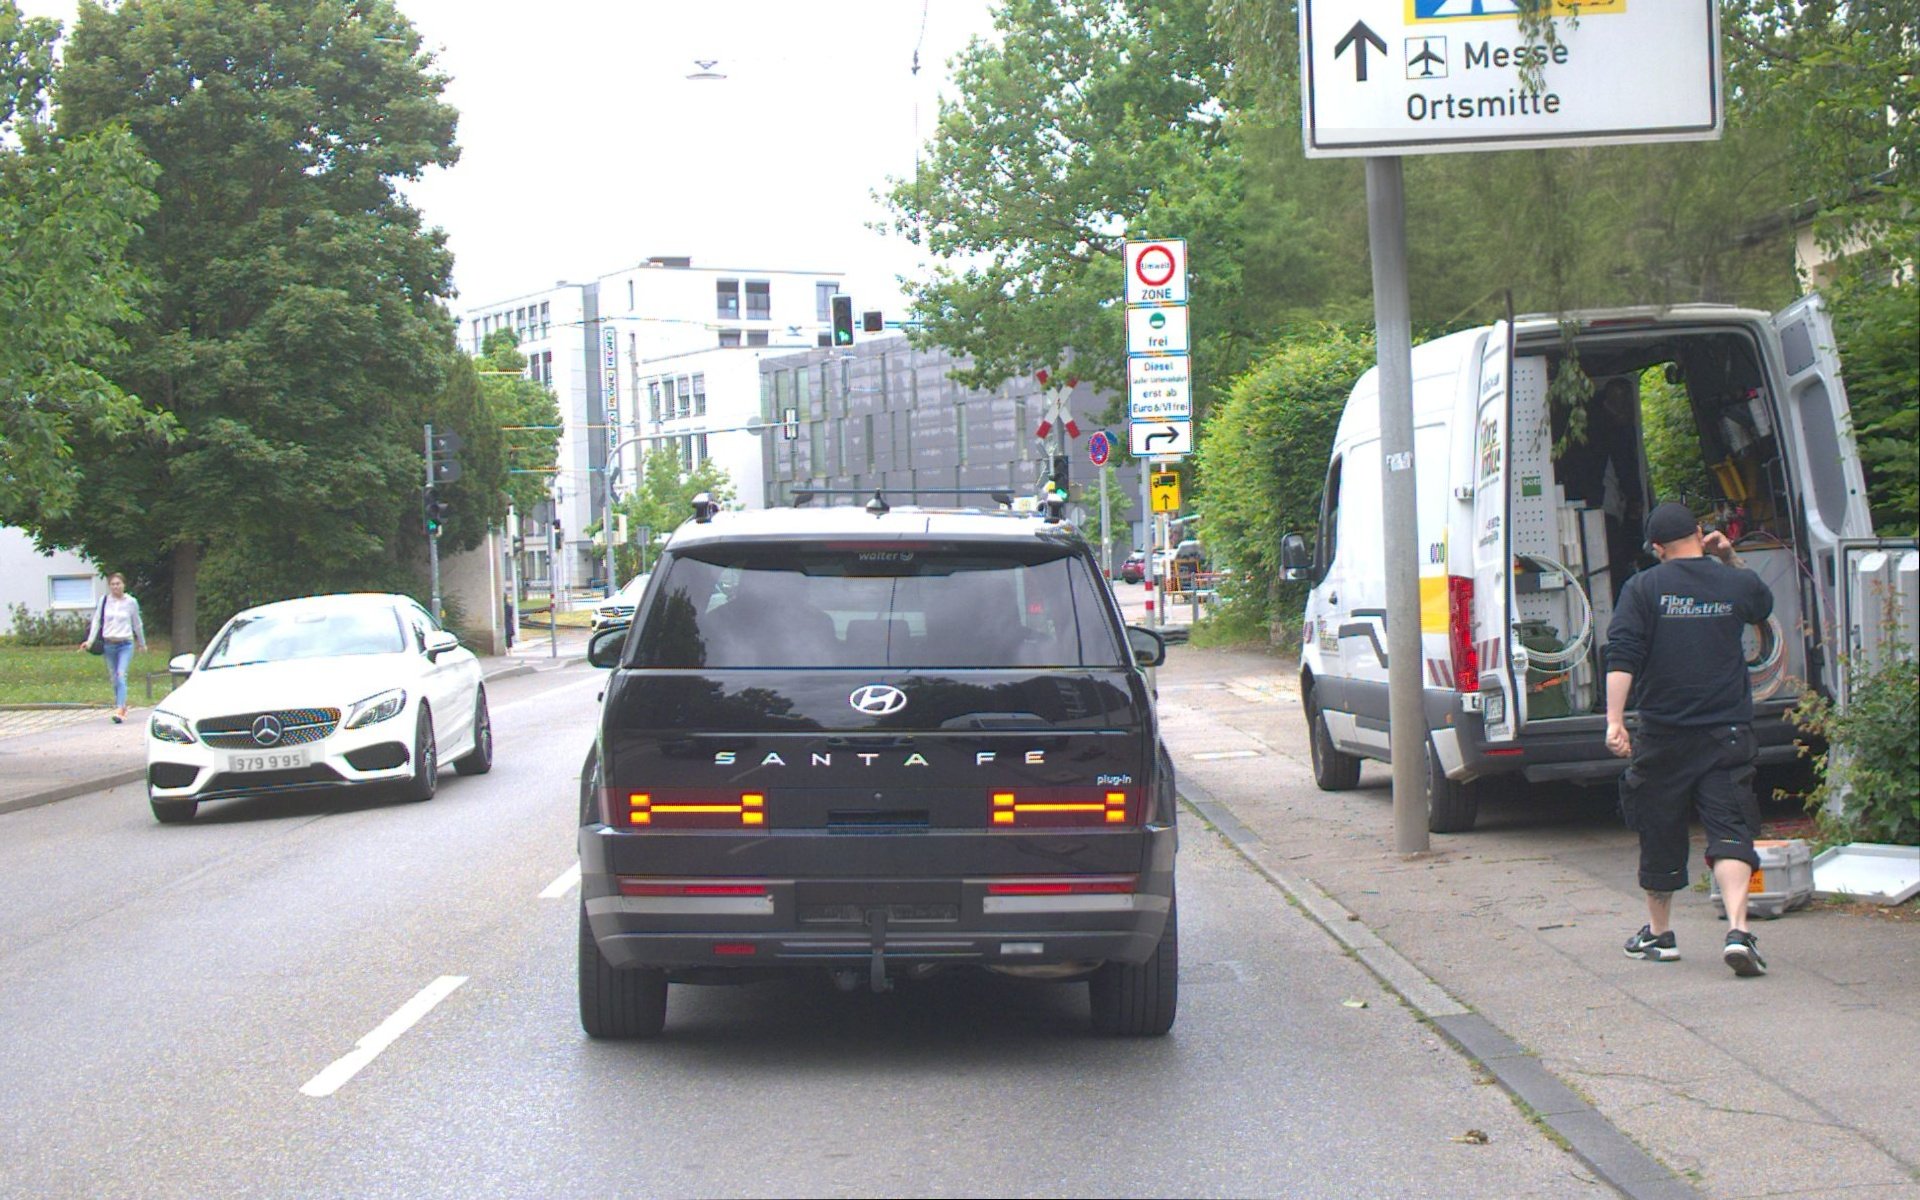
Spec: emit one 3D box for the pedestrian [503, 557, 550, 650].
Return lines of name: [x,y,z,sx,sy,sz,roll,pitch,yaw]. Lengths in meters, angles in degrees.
pedestrian: [-9.495,0.079,75.346,0.830,2.007,1.047,1,0,2]

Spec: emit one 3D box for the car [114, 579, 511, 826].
car: [-4.395,0.629,24.068,1.814,1.414,4.829,-5,0,-1]

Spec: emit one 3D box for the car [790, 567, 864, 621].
car: [-4.256,-0.195,109.406,1.883,1.633,3.899,-2,1,-9]

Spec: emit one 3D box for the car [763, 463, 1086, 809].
car: [-0.229,0.203,22.649,1.897,2.035,3.994,1,0,0]

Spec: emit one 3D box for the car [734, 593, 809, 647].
car: [-5.379,0.545,97.772,1.883,1.415,4.001,-2,1,-6]

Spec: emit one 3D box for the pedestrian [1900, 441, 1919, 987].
pedestrian: [3.398,0.360,10.792,0.647,1.745,0.655,-1,0,-3]

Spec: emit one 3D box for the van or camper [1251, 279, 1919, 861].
van or camper: [3.315,-0.123,18.969,2.340,2.486,6.603,-5,0,-3]

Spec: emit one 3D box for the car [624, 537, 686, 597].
car: [-12.237,-1.326,137.734,2.332,2.307,4.959,-2,1,-6]

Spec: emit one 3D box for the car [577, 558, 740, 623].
car: [-7.583,-0.250,86.810,1.841,1.533,4.260,-1,1,33]

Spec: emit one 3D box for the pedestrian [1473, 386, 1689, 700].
pedestrian: [3.343,-0.302,18.539,0.736,1.638,0.801,-2,0,-28]

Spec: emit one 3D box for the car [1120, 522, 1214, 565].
car: [8.102,-2.219,134.694,3.642,1.578,1.751,-2,1,3]

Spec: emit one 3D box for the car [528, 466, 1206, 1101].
car: [-0.281,0.513,11.827,1.897,1.770,3.994,1,0,0]

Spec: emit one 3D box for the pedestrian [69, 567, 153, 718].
pedestrian: [-9.918,0.483,40.188,0.767,1.742,0.904,0,0,-1]

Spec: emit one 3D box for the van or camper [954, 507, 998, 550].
van or camper: [0.777,-3.426,166.198,1.795,1.992,3.824,1,0,-4]

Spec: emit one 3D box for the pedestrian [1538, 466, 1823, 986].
pedestrian: [2.503,0.429,11.901,0.751,1.715,0.791,-3,-1,22]

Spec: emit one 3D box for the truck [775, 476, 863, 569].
truck: [-6.260,-3.350,151.258,3.107,3.846,9.623,-2,1,-6]
